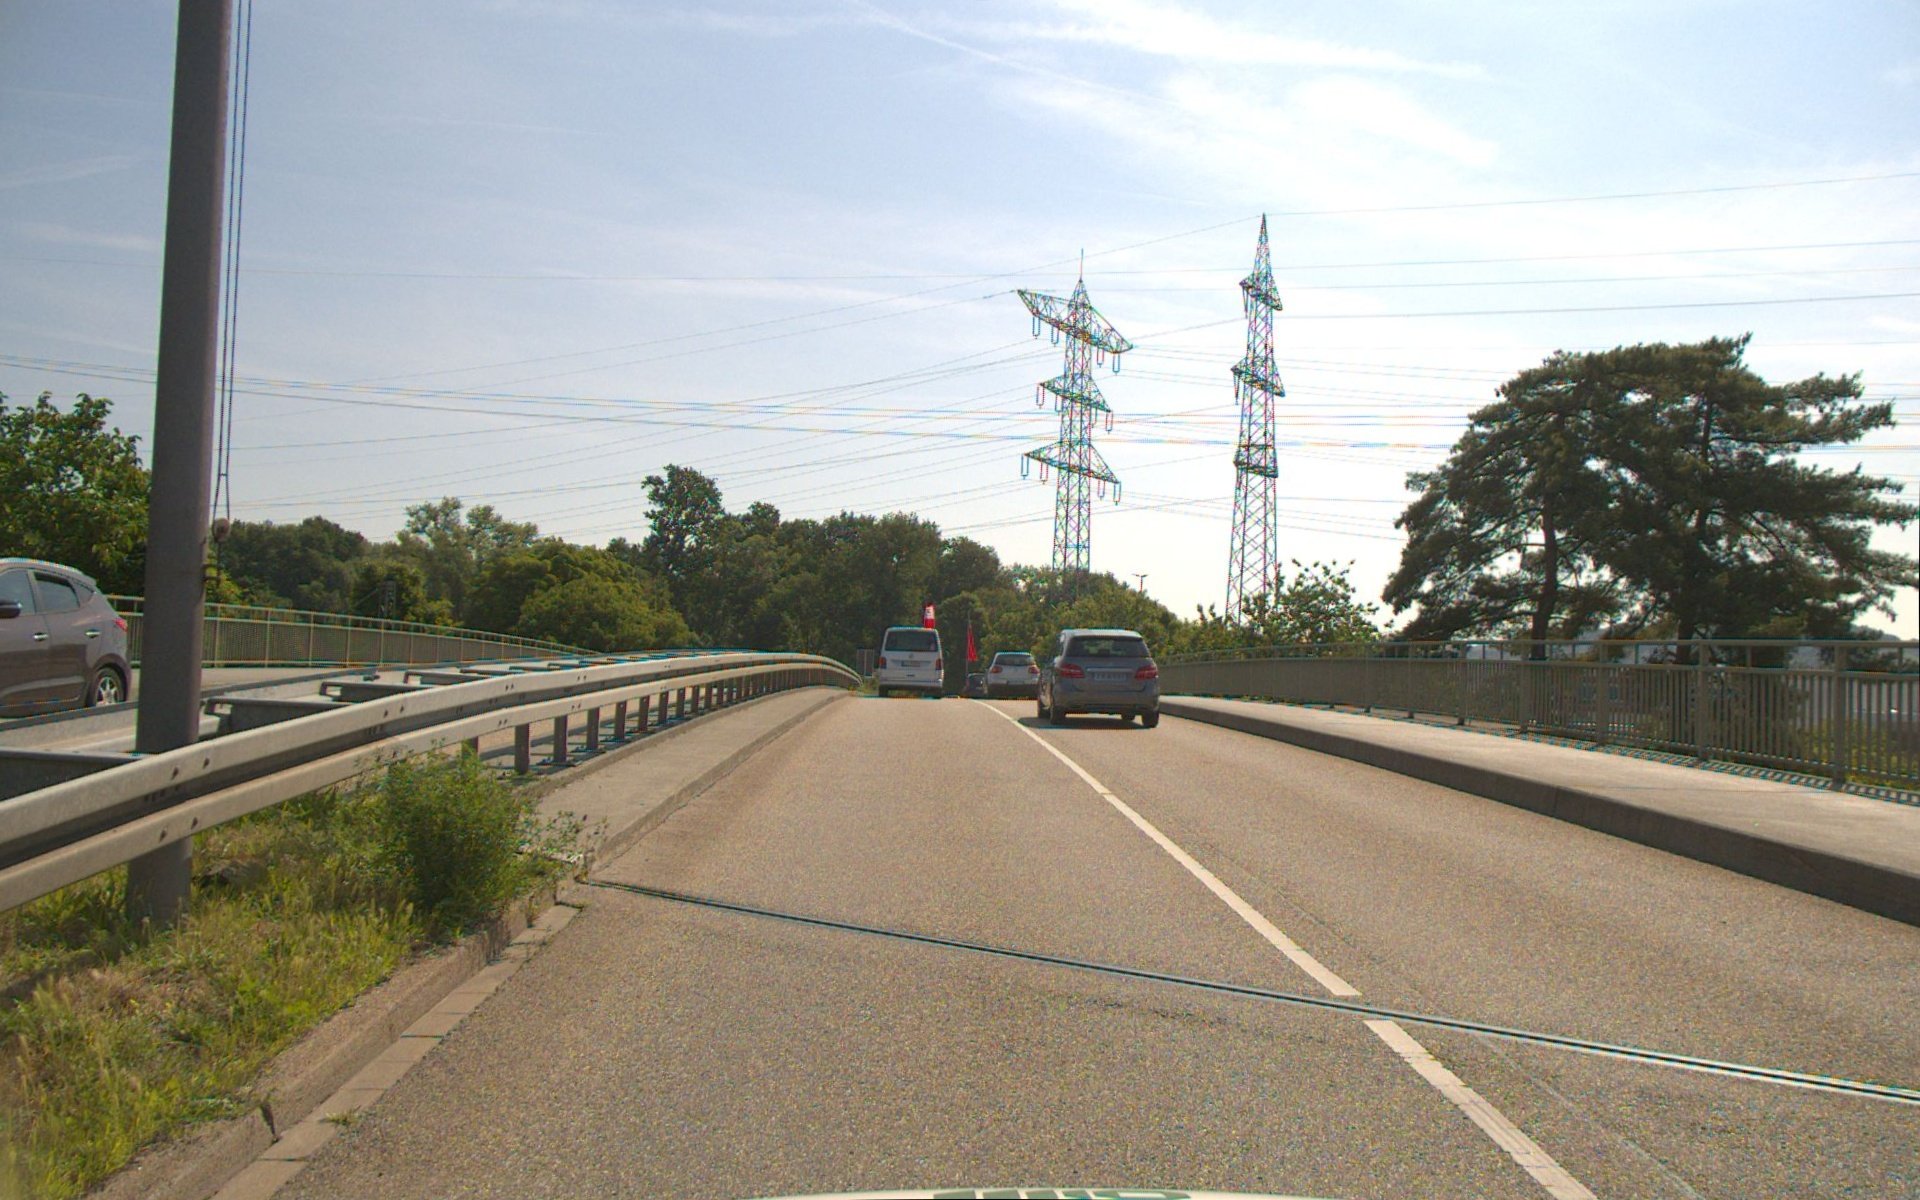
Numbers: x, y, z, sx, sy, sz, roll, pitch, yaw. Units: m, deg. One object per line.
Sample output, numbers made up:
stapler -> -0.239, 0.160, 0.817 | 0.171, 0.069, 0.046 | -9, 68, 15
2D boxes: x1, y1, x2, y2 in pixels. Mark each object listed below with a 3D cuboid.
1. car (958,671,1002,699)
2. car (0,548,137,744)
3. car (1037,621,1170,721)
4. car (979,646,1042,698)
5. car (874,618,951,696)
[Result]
car -> 1.033, 4.274, 83.147 | 1.735, 1.355, 3.742 | 0, -4, 8
car -> -9.050, 0.377, 14.264 | 1.844, 1.664, 4.223 | 1, -1, -2
car -> 2.358, 1.139, 28.032 | 1.818, 1.556, 4.143 | 1, -1, -1
car -> 1.574, 2.304, 52.686 | 1.818, 1.556, 4.142 | 1, -3, -1
car -> -1.330, 1.640, 48.072 | 1.997, 2.049, 3.999 | 3, -1, 0
